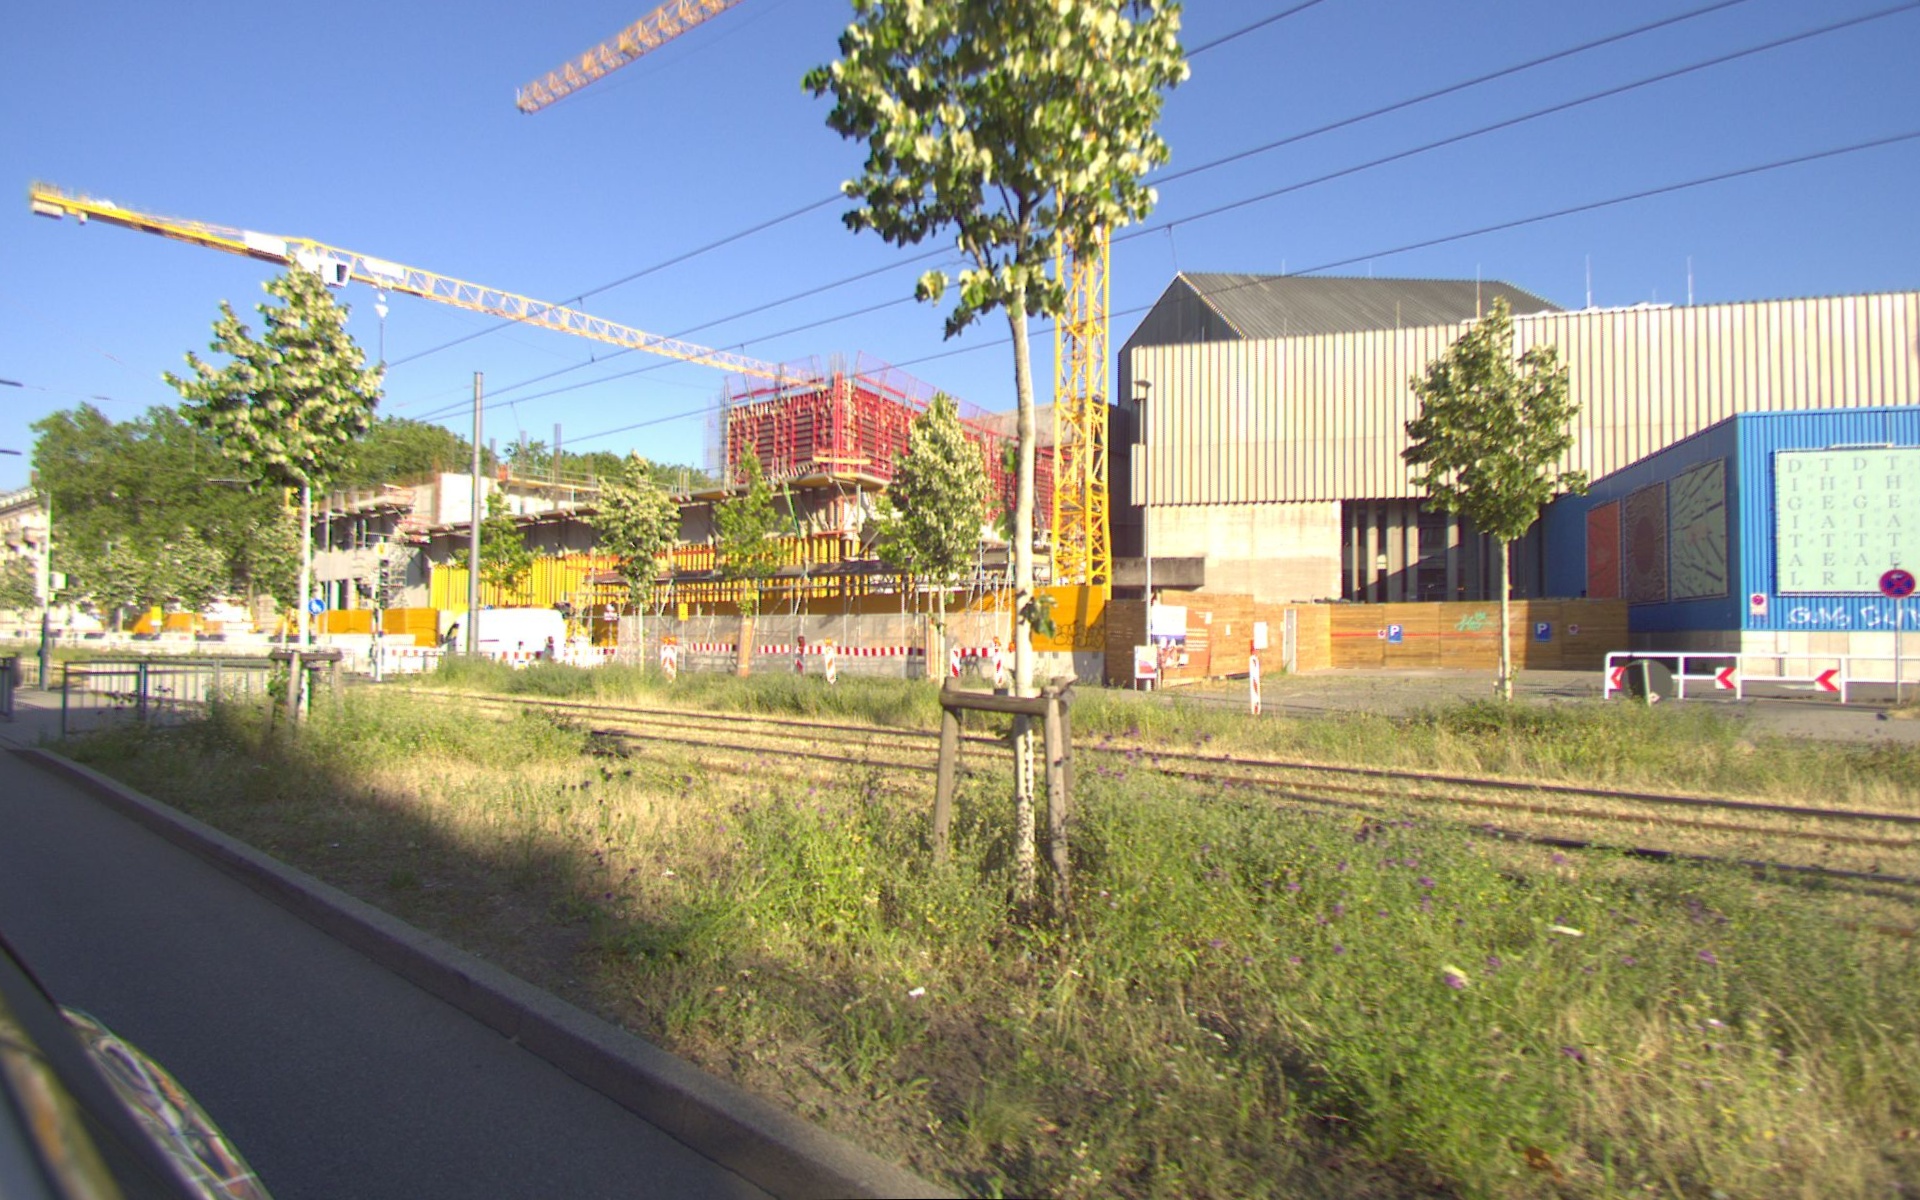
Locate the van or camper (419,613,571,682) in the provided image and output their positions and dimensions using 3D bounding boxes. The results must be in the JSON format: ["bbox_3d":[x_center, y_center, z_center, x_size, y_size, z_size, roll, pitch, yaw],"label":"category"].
[{"bbox_3d":[-18.477,1.938,40.030,7.187,2.529,2.201,-2,-5,37],"label":"van or camper"}]
